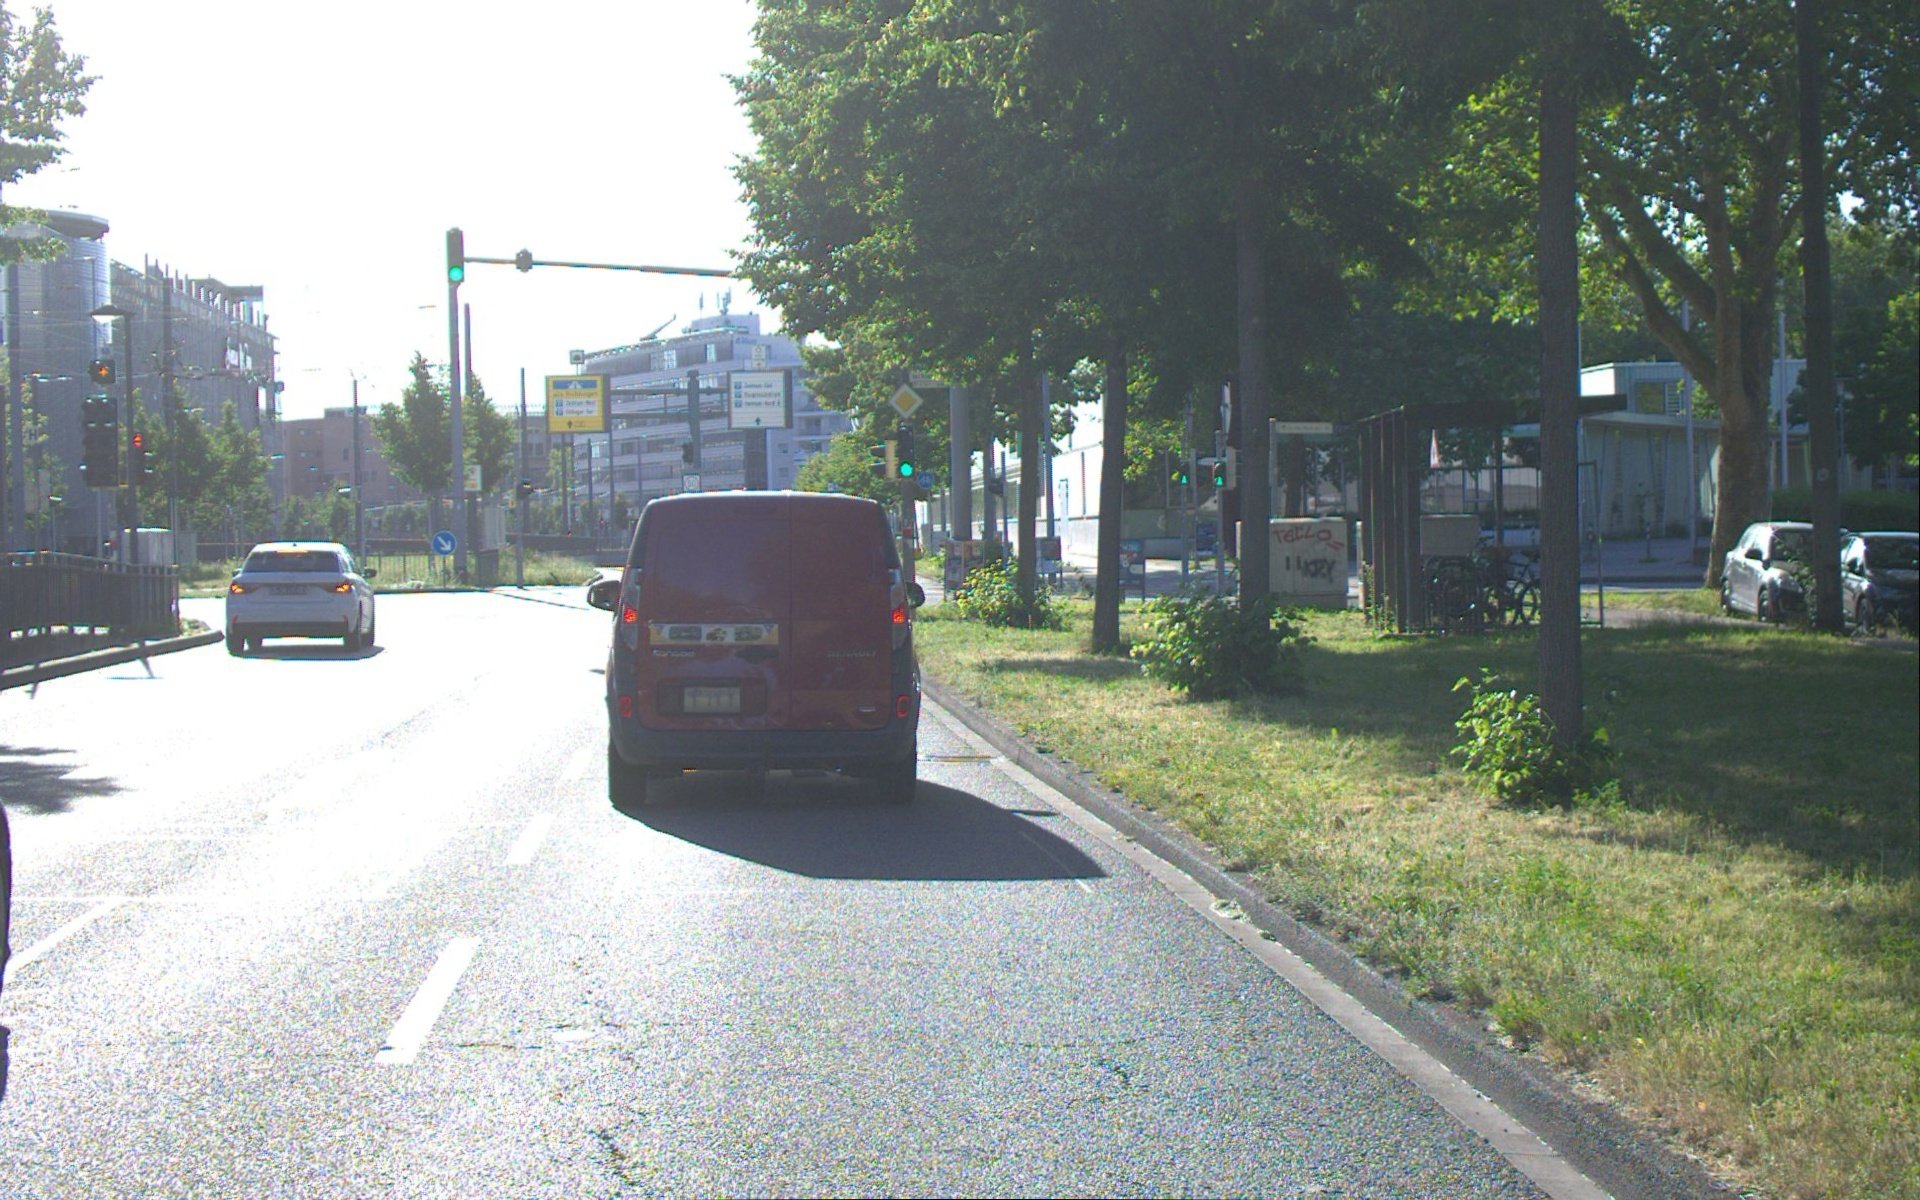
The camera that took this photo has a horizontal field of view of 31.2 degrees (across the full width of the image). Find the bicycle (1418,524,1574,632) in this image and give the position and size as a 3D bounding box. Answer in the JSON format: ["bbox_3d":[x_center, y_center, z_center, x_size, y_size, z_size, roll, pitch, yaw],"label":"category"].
[{"bbox_3d":[6.406,-0.265,41.116,1.778,1.264,0.479,1,0,-2],"label":"bicycle"}]

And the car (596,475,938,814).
[{"bbox_3d":[-1.259,0.224,20.731,1.808,1.831,4.001,1,1,-7],"label":"car"}]

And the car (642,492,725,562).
[{"bbox_3d":[-8.174,-2.170,101.977,2.269,2.007,4.710,0,1,-2],"label":"car"}]

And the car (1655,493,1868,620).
[{"bbox_3d":[11.167,-0.605,48.150,1.871,1.678,4.000,1,1,-3],"label":"car"}]

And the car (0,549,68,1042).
[{"bbox_3d":[-3.803,0.621,8.635,1.952,1.475,5.085,0,1,-2],"label":"car"}]

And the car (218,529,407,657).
[{"bbox_3d":[-8.594,-0.113,45.914,1.993,1.612,4.001,1,1,-4],"label":"car"}]

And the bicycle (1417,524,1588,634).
[{"bbox_3d":[6.342,-0.253,40.246,1.917,1.264,0.479,0,1,-2],"label":"bicycle"}]

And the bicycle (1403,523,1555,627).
[{"bbox_3d":[6.373,-0.310,42.266,1.778,1.264,0.479,0,1,-2],"label":"bicycle"}]

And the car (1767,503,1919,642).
[{"bbox_3d":[11.812,-0.353,43.650,1.871,1.678,4.001,1,1,-5],"label":"car"}]
